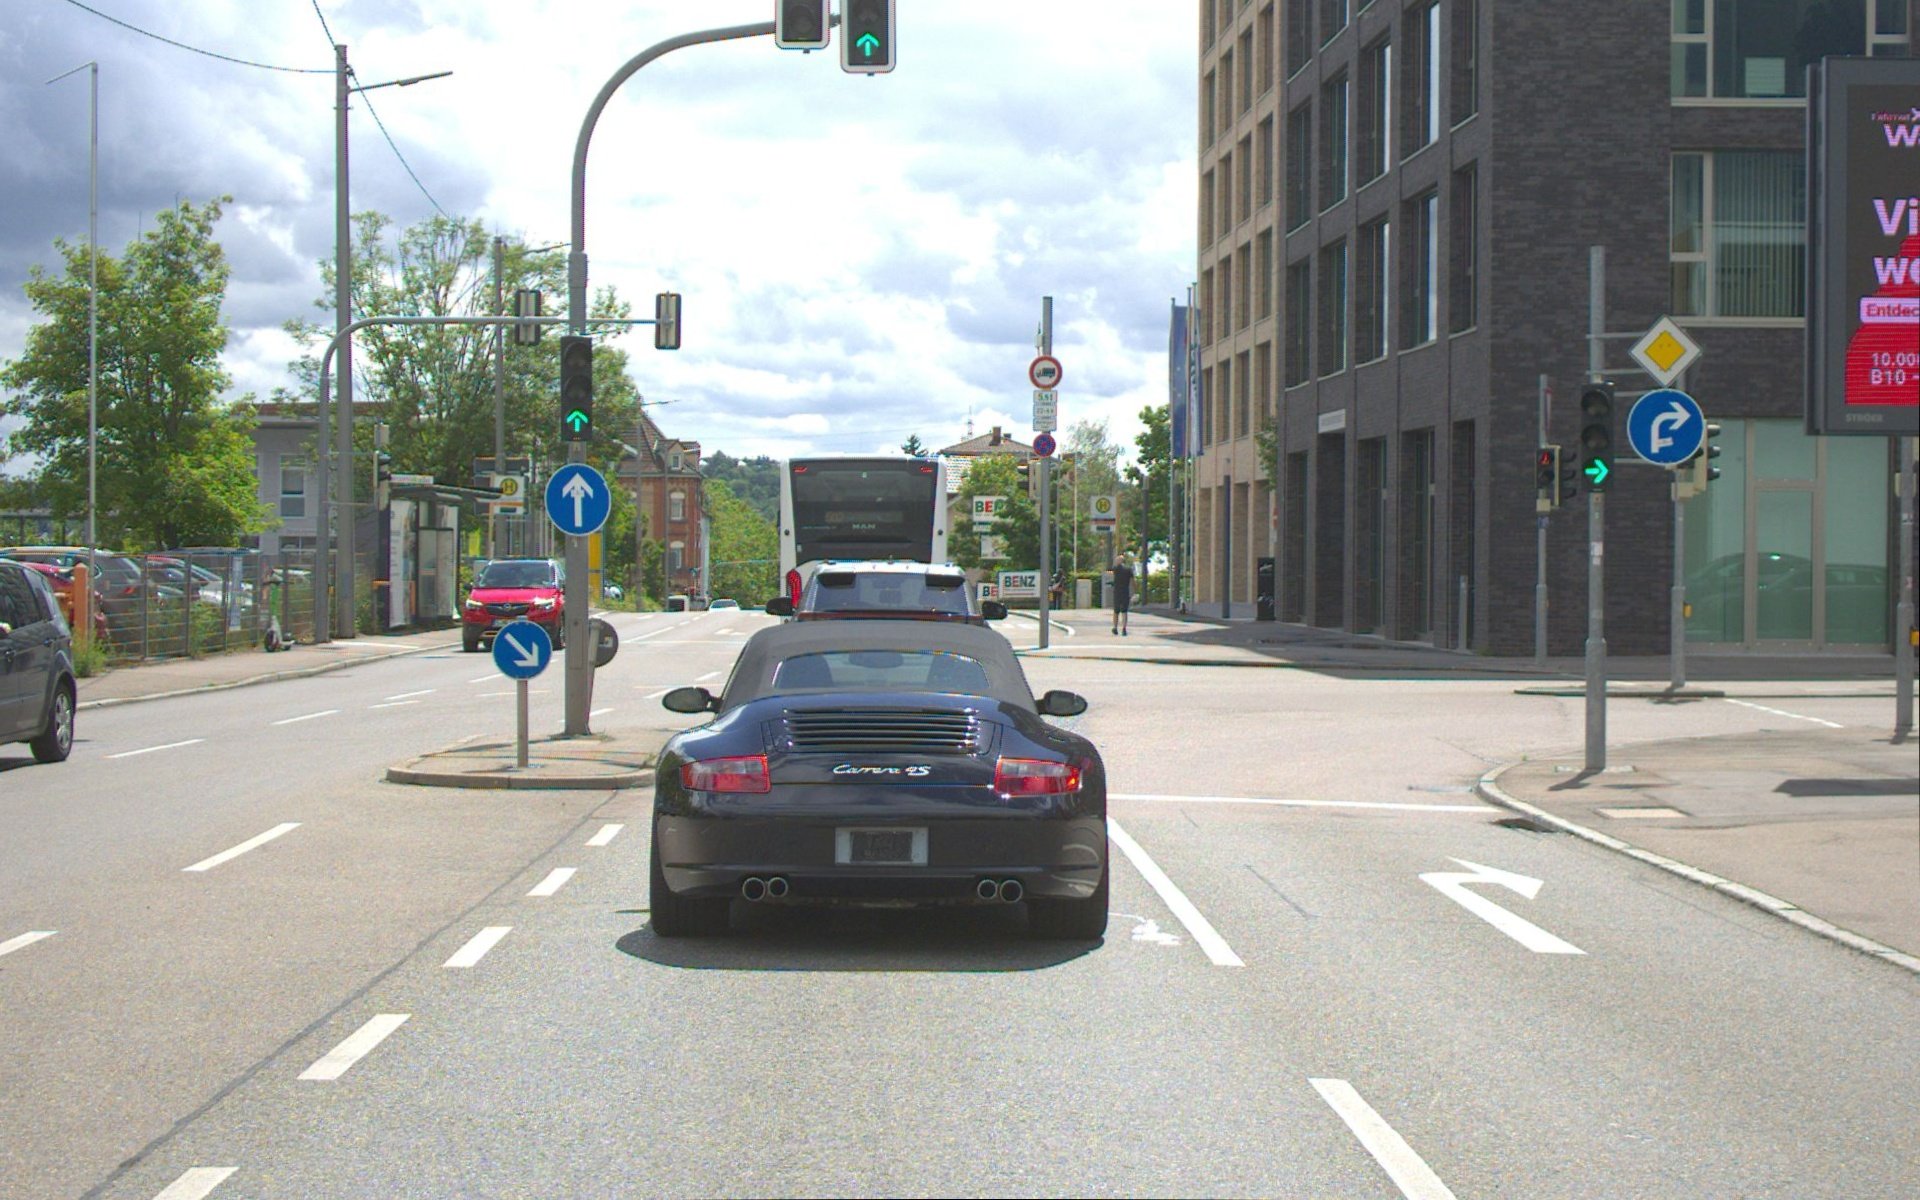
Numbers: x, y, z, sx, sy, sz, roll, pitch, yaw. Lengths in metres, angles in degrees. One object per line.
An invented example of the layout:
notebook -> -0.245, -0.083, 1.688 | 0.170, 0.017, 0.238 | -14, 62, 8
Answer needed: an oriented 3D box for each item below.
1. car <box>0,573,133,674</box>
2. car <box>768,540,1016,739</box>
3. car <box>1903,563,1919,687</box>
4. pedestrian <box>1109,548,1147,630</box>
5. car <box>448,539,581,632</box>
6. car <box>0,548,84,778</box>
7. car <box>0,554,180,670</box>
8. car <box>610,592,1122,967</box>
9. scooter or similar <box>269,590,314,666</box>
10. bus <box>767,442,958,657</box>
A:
car -> -13.873, 0.328, 49.198 | 3.851, 1.414, 1.903 | 0, 0, -10
car -> -0.661, 0.307, 29.652 | 1.930, 1.577, 4.208 | 1, 0, -4
car -> 14.809, 0.325, 44.509 | 4.639, 1.613, 2.000 | 0, 0, -1
pedestrian -> 3.583, -0.229, 73.402 | 0.683, 1.722, 0.962 | 1, 0, -2
car -> -7.879, -0.282, 61.111 | 1.841, 1.590, 4.000 | 1, 1, 0
car -> -8.032, 0.455, 25.504 | 1.911, 1.696, 4.625 | 1, 1, -1
car -> -14.007, 0.172, 51.974 | 4.102, 1.729, 2.000 | 0, 0, -5
car -> -0.383, 0.677, 15.155 | 1.930, 1.372, 4.208 | 1, 1, -1
scooter or similar -> -10.922, 0.455, 56.200 | 0.424, 1.206, 1.126 | 2, 0, 3
bus -> -1.486, -0.811, 57.365 | 2.802, 3.187, 12.196 | 1, 1, 0
